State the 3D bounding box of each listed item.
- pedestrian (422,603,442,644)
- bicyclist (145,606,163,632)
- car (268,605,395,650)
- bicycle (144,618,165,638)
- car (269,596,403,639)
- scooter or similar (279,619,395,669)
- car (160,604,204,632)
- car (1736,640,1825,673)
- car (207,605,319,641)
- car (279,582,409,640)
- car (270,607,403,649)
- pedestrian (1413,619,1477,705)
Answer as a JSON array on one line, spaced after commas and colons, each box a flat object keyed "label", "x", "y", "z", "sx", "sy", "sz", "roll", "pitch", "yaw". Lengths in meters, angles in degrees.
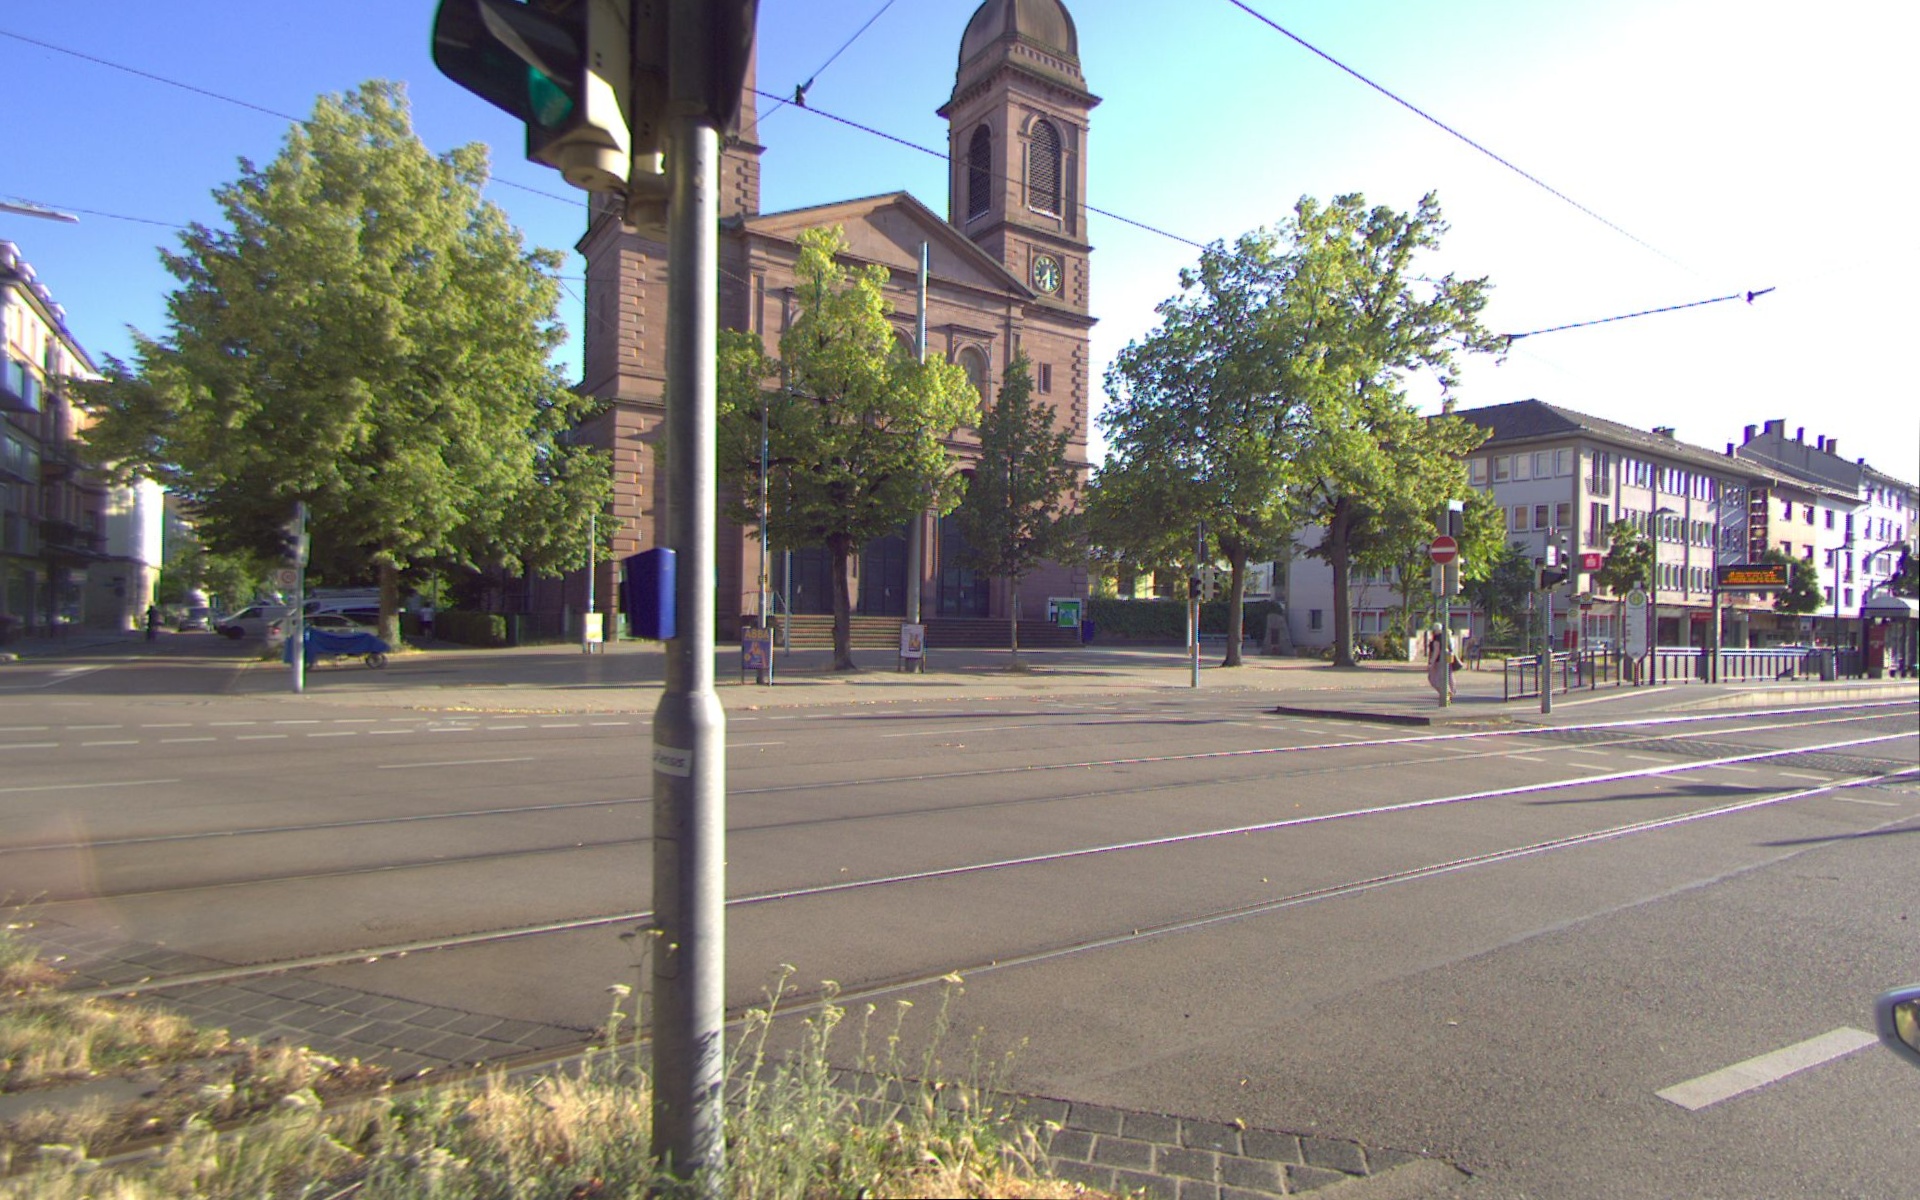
[{"label": "pedestrian", "x": -23.529, "y": 1.054, "z": 44.750, "sx": 0.685, "sy": 1.789, "sz": 0.732, "roll": 2, "pitch": -1, "yaw": -34}, {"label": "bicyclist", "x": -42.694, "y": 1.010, "z": 53.225, "sx": 0.626, "sy": 1.348, "sz": 0.961, "roll": 2, "pitch": -1, "yaw": -33}, {"label": "car", "x": -23.769, "y": 1.042, "z": 38.068, "sx": 3.958, "sy": 1.639, "sz": 1.873, "roll": 2, "pitch": -1, "yaw": -34}, {"label": "bicycle", "x": -42.714, "y": 1.462, "z": 53.265, "sx": 0.626, "sy": 0.993, "sz": 1.971, "roll": 2, "pitch": -1, "yaw": -33}, {"label": "car", "x": -26.186, "y": 0.745, "z": 42.237, "sx": 4.661, "sy": 1.684, "sz": 1.981, "roll": 2, "pitch": -1, "yaw": -34}, {"label": "scooter or similar", "x": -15.634, "y": 1.076, "z": 25.257, "sx": 2.422, "sy": 1.141, "sz": 1.087, "roll": -1, "pitch": 1, "yaw": -34}, {"label": "car", "x": -59.855, "y": 1.394, "z": 77.249, "sx": 1.987, "sy": 2.040, "sz": 5.353, "roll": 2, "pitch": -1, "yaw": -44}, {"label": "car", "x": 45.703, "y": 3.122, "z": 55.990, "sx": 3.440, "sy": 1.702, "sz": 1.772, "roll": 1, "pitch": -1, "yaw": 3}, {"label": "car", "x": -41.329, "y": 1.371, "z": 59.628, "sx": 5.377, "sy": 2.040, "sz": 1.978, "roll": 2, "pitch": -1, "yaw": -38}, {"label": "car", "x": -28.773, "y": 0.555, "z": 47.054, "sx": 5.060, "sy": 2.552, "sz": 1.981, "roll": 2, "pitch": -1, "yaw": -34}, {"label": "car", "x": -22.271, "y": 0.973, "z": 35.990, "sx": 3.958, "sy": 1.417, "sz": 1.800, "roll": 1, "pitch": -1, "yaw": -34}, {"label": "pedestrian", "x": 10.428, "y": 1.318, "z": 21.602, "sx": 0.823, "sy": 1.783, "sz": 0.914, "roll": 2, "pitch": -1, "yaw": -32}]
